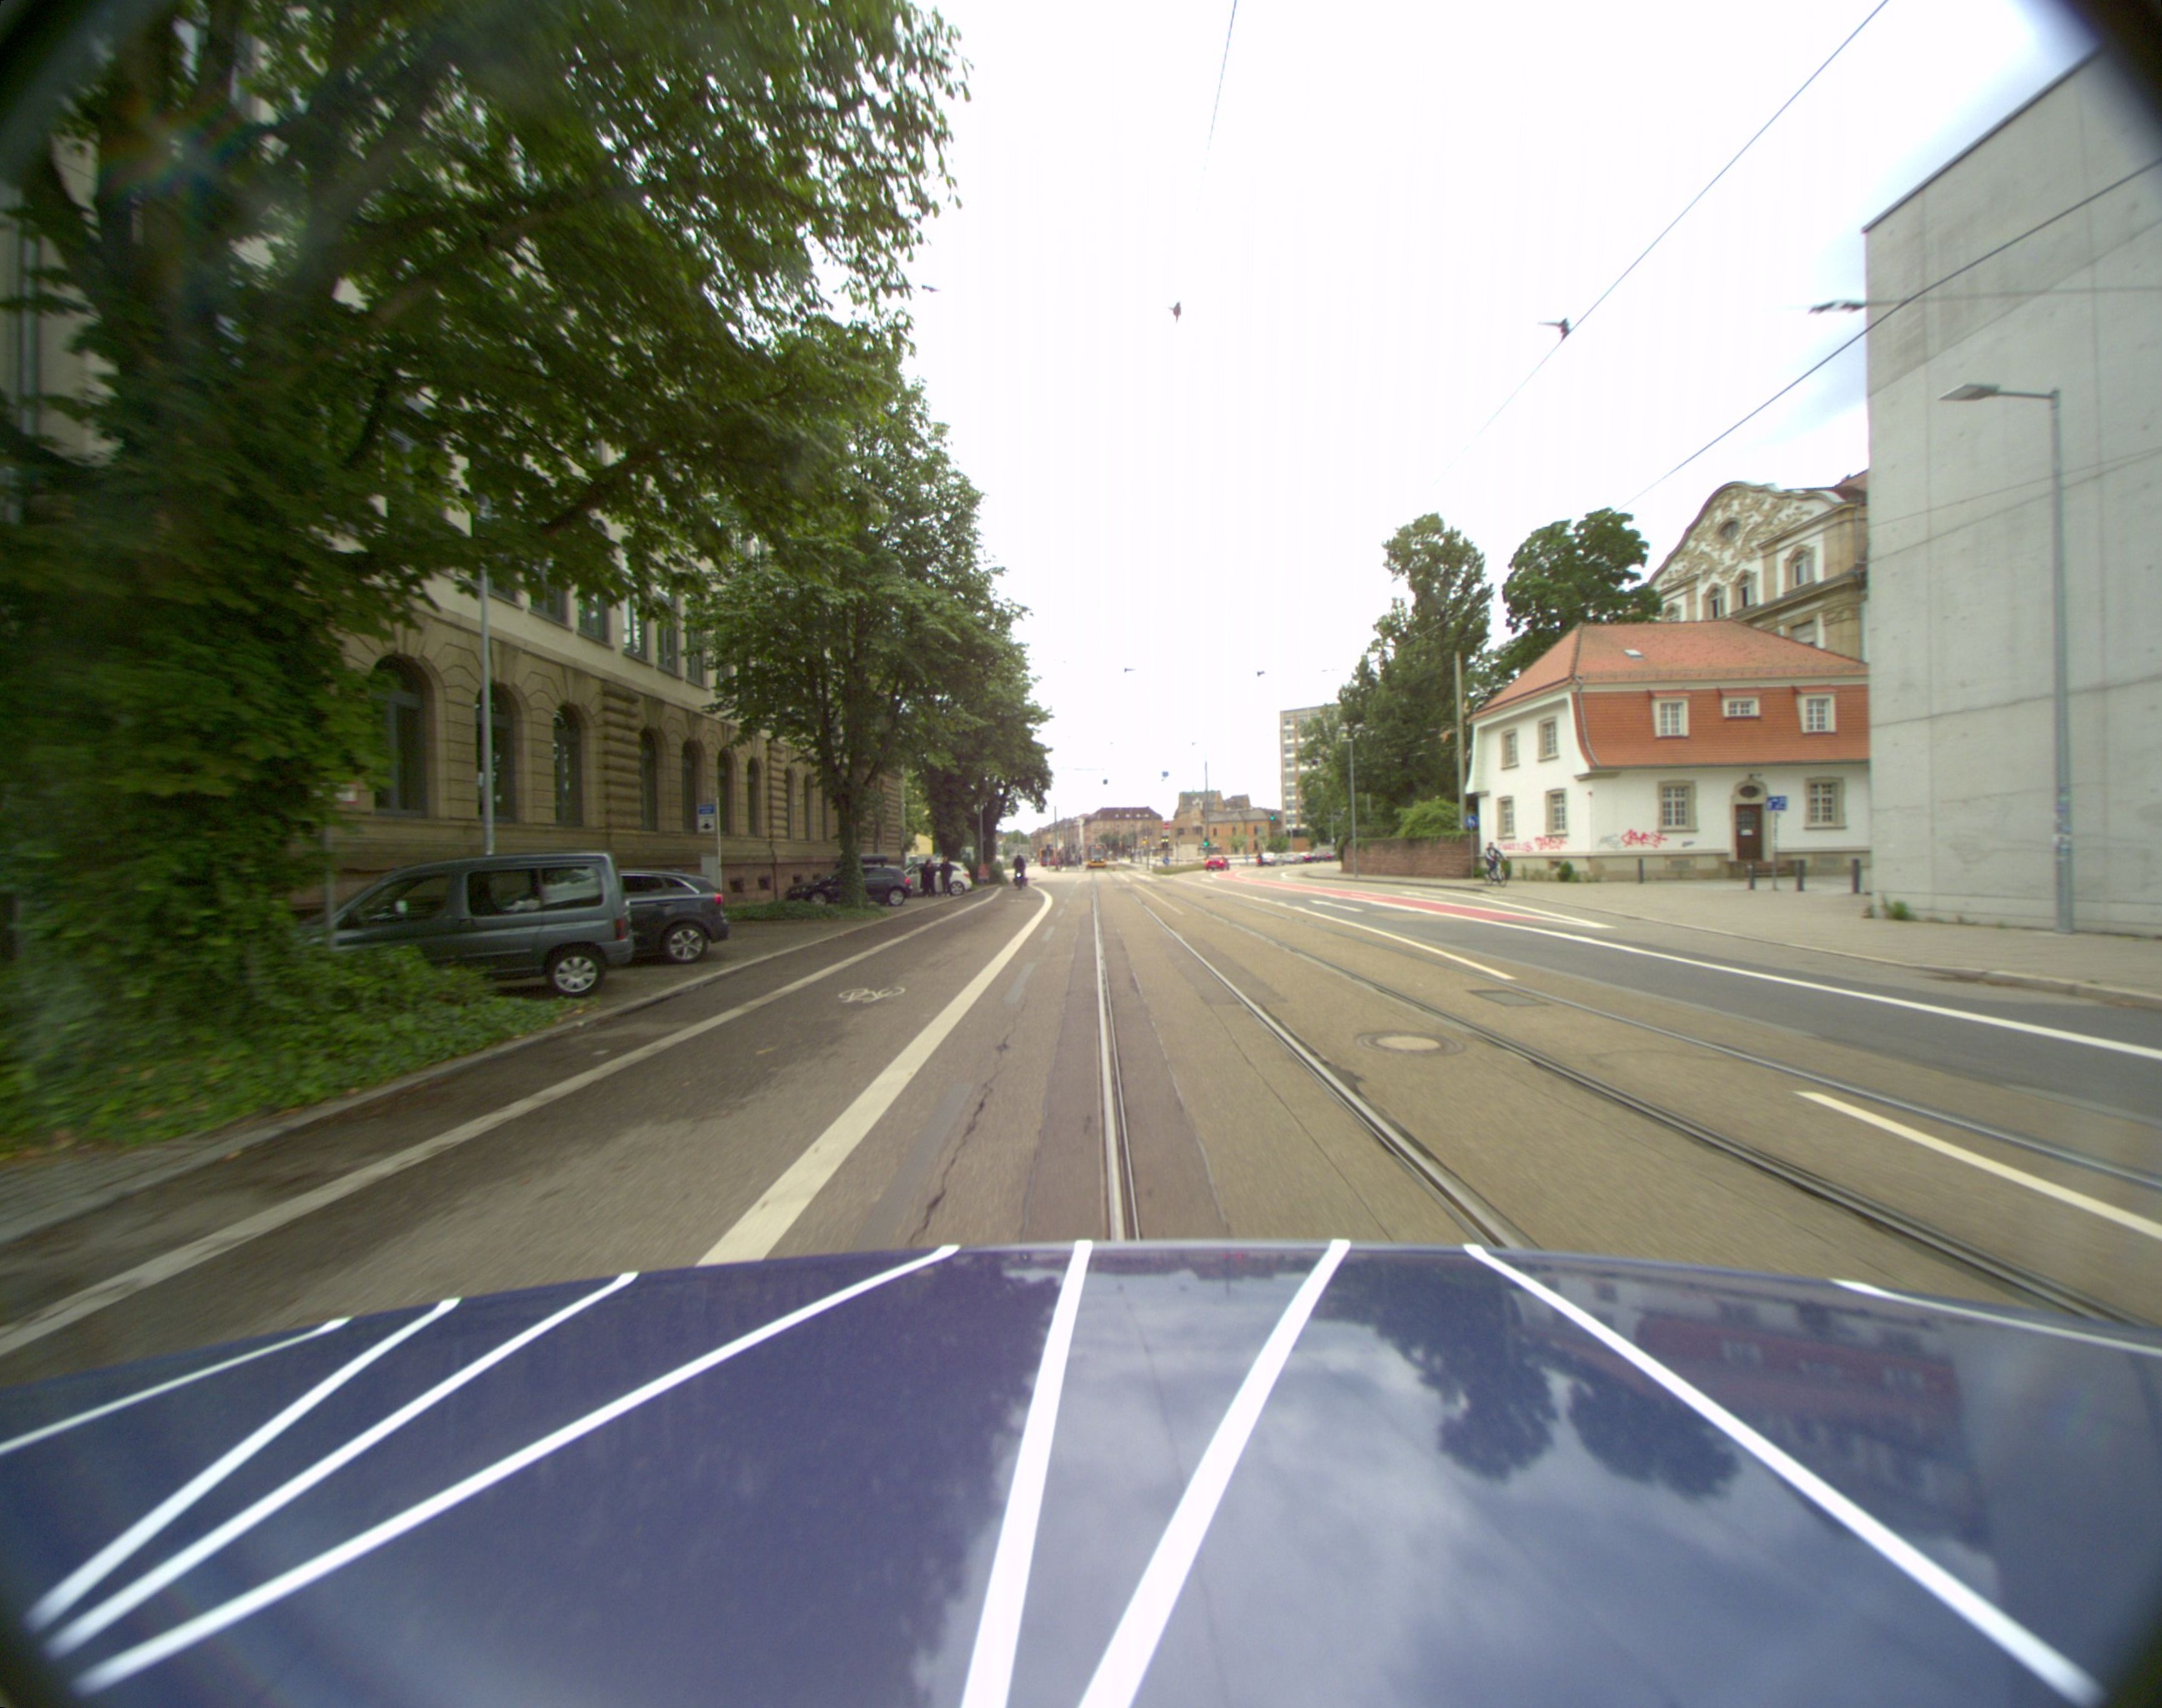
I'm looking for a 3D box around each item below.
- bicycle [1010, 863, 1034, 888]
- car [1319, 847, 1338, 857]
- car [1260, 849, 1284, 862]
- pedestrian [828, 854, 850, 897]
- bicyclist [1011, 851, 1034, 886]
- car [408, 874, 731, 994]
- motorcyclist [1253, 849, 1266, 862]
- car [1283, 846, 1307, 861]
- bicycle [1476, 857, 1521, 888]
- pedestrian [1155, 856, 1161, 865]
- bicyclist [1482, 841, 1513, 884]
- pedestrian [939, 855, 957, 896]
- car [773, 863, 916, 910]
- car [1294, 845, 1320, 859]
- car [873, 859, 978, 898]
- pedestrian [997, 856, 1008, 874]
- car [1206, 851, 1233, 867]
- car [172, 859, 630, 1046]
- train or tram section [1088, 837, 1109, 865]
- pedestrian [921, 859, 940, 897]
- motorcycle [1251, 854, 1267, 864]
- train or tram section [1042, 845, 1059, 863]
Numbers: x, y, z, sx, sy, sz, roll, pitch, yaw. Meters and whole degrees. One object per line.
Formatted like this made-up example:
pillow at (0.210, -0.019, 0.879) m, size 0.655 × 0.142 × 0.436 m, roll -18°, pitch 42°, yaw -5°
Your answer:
bicycle at (-3.084, 1.136, 39.776) m, size 0.852 × 1.234 × 2.311 m, roll -2°, pitch -1°, yaw 6°
car at (33.691, -0.269, 103.325) m, size 1.420 × 1.164 × 3.077 m, roll -1°, pitch 0°, yaw 37°
car at (22.049, 0.160, 87.721) m, size 1.491 × 1.500 × 3.476 m, roll -1°, pitch 1°, yaw 34°
pedestrian at (-10.387, 0.914, 32.611) m, size 0.680 × 1.828 × 0.751 m, roll 1°, pitch 1°, yaw 1°
bicyclist at (-3.060, 0.777, 39.972) m, size 0.881 × 1.811 × 1.479 m, roll -2°, pitch -1°, yaw 6°
car at (-7.981, 1.129, 12.208) m, size 4.007 × 1.530 × 1.860 m, roll -1°, pitch 0°, yaw -34°
motorcyclist at (19.882, 0.180, 84.491) m, size 1.074 × 1.477 × 1.253 m, roll -1°, pitch 0°, yaw 26°
car at (26.532, -0.073, 94.085) m, size 1.682 × 1.641 × 3.988 m, roll -1°, pitch 0°, yaw 35°
bicycle at (16.770, 0.725, 30.559) m, size 0.776 × 1.205 × 1.869 m, roll -1°, pitch 0°, yaw 1°
pedestrian at (9.172, 0.762, 90.519) m, size 0.544 × 1.050 × 0.638 m, roll -1°, pitch 1°, yaw 9°
bicyclist at (16.761, 0.340, 30.591) m, size 0.776 × 1.681 × 0.869 m, roll -1°, pitch 0°, yaw 1°
pedestrian at (-5.794, 0.940, 33.074) m, size 0.615 × 1.740 × 0.685 m, roll -2°, pitch 1°, yaw -21°
car at (-8.075, 1.067, 26.050) m, size 4.338 × 1.394 × 1.750 m, roll -1°, pitch 0°, yaw -32°
car at (29.368, -0.261, 98.653) m, size 1.782 × 1.601 × 4.333 m, roll -1°, pitch 0°, yaw 36°
car at (-6.967, 1.055, 34.050) m, size 4.330 × 1.542 × 1.747 m, roll -1°, pitch 0°, yaw -22°
pedestrian at (-7.587, 1.087, 73.466) m, size 0.917 × 1.699 × 1.157 m, roll -2°, pitch 1°, yaw -11°
car at (13.481, 0.449, 73.749) m, size 1.757 × 1.490 × 4.006 m, roll 0°, pitch 1°, yaw 23°
car at (-7.766, 0.989, 9.271) m, size 3.846 × 1.810 × 1.803 m, roll -1°, pitch 0°, yaw -30°
train or tram section at (2.427, -0.432, 106.827) m, size 2.631 × 3.659 × 5.984 m, roll -2°, pitch 0°, yaw -1°
pedestrian at (-6.459, 1.012, 32.636) m, size 0.645 × 1.616 × 0.591 m, roll -2°, pitch 1°, yaw -23°
motorcycle at (19.691, 0.508, 84.092) m, size 1.053 × 1.063 × 2.653 m, roll -2°, pitch 0°, yaw 27°
train or tram section at (-4.983, -0.044, 126.362) m, size 2.609 × 2.936 × 4.965 m, roll -2°, pitch 0°, yaw -1°
